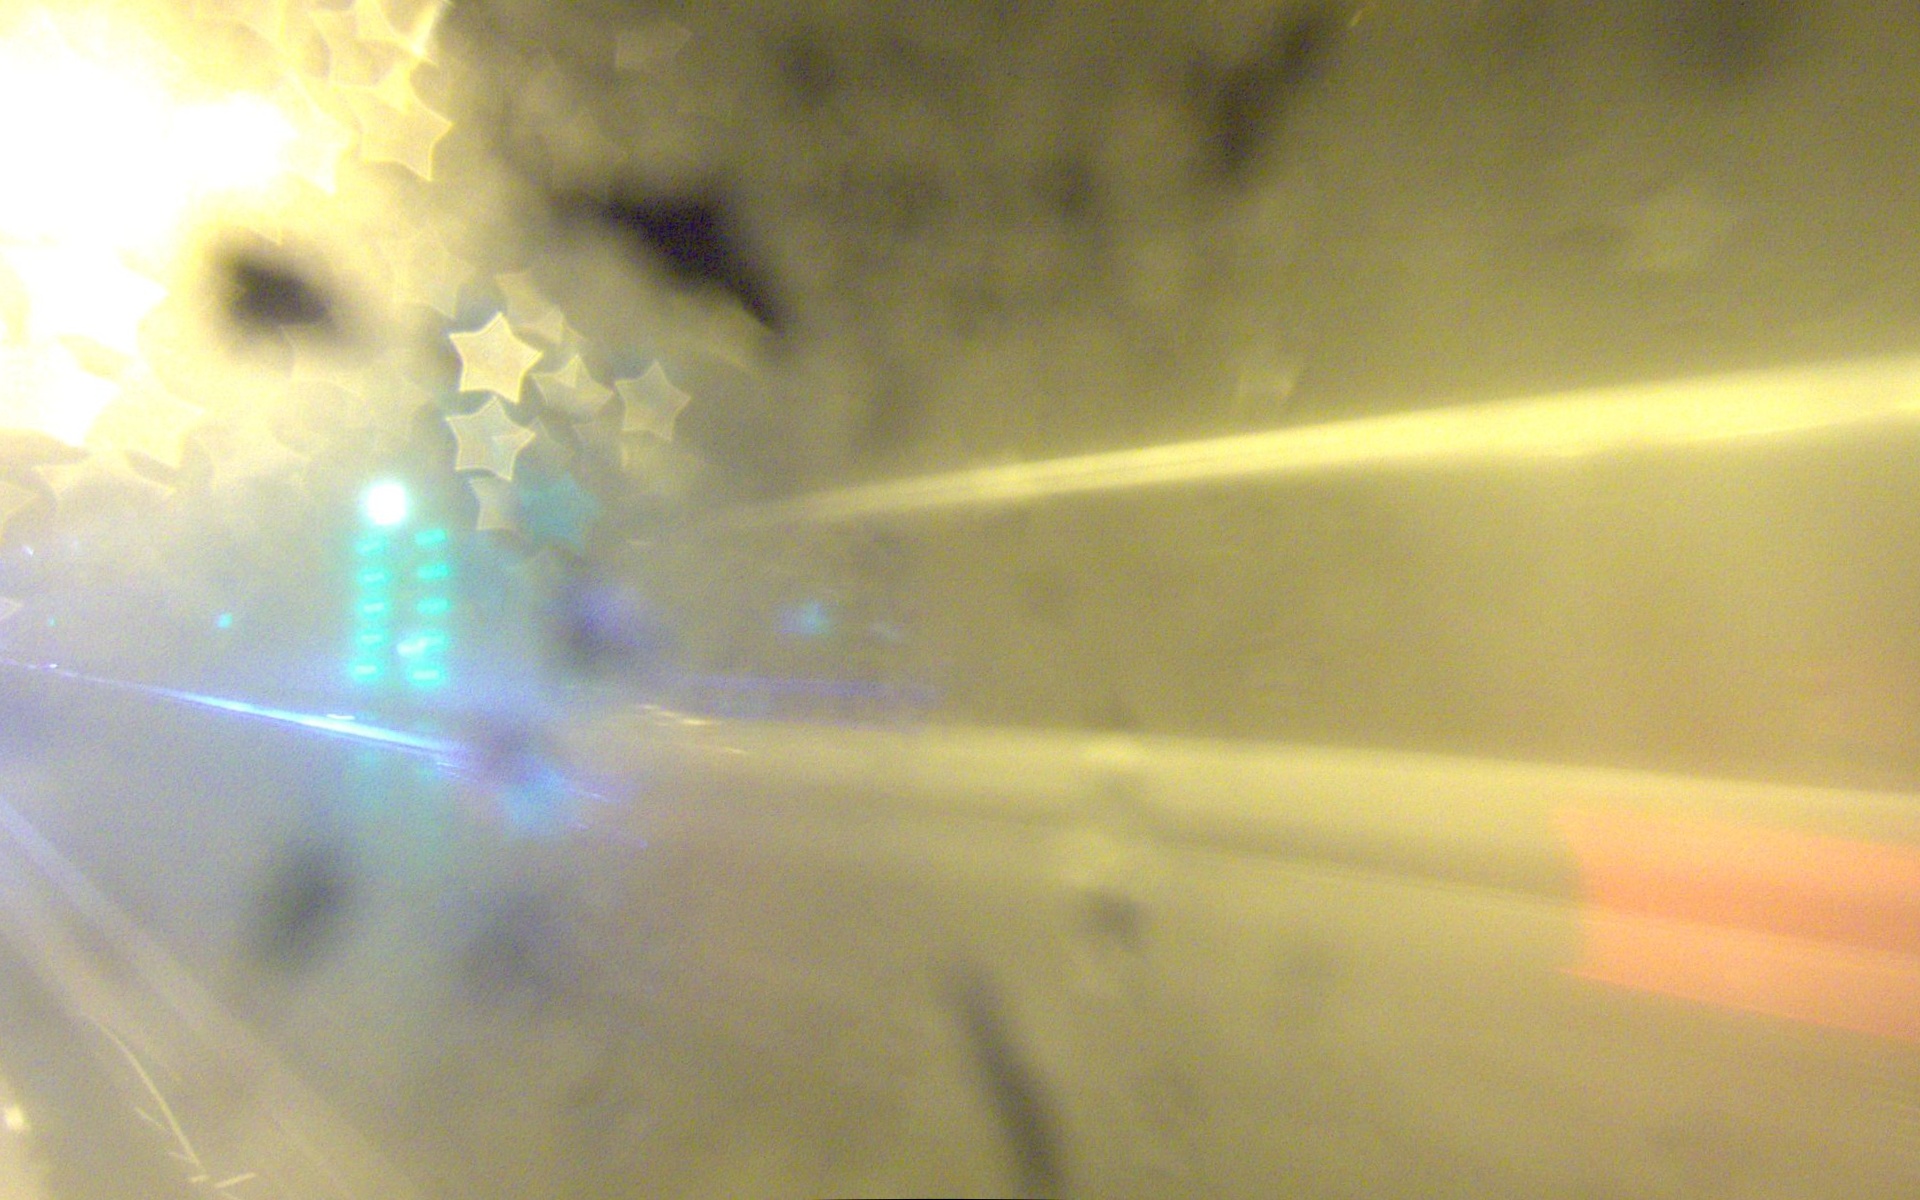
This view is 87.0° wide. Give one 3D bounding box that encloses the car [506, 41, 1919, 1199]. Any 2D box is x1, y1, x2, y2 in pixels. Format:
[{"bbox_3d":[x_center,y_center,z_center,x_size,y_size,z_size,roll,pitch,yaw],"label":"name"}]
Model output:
[{"bbox_3d":[0.741,0.383,2.906,4.558,2.029,2.063,-1,-1,42],"label":"car"}]
